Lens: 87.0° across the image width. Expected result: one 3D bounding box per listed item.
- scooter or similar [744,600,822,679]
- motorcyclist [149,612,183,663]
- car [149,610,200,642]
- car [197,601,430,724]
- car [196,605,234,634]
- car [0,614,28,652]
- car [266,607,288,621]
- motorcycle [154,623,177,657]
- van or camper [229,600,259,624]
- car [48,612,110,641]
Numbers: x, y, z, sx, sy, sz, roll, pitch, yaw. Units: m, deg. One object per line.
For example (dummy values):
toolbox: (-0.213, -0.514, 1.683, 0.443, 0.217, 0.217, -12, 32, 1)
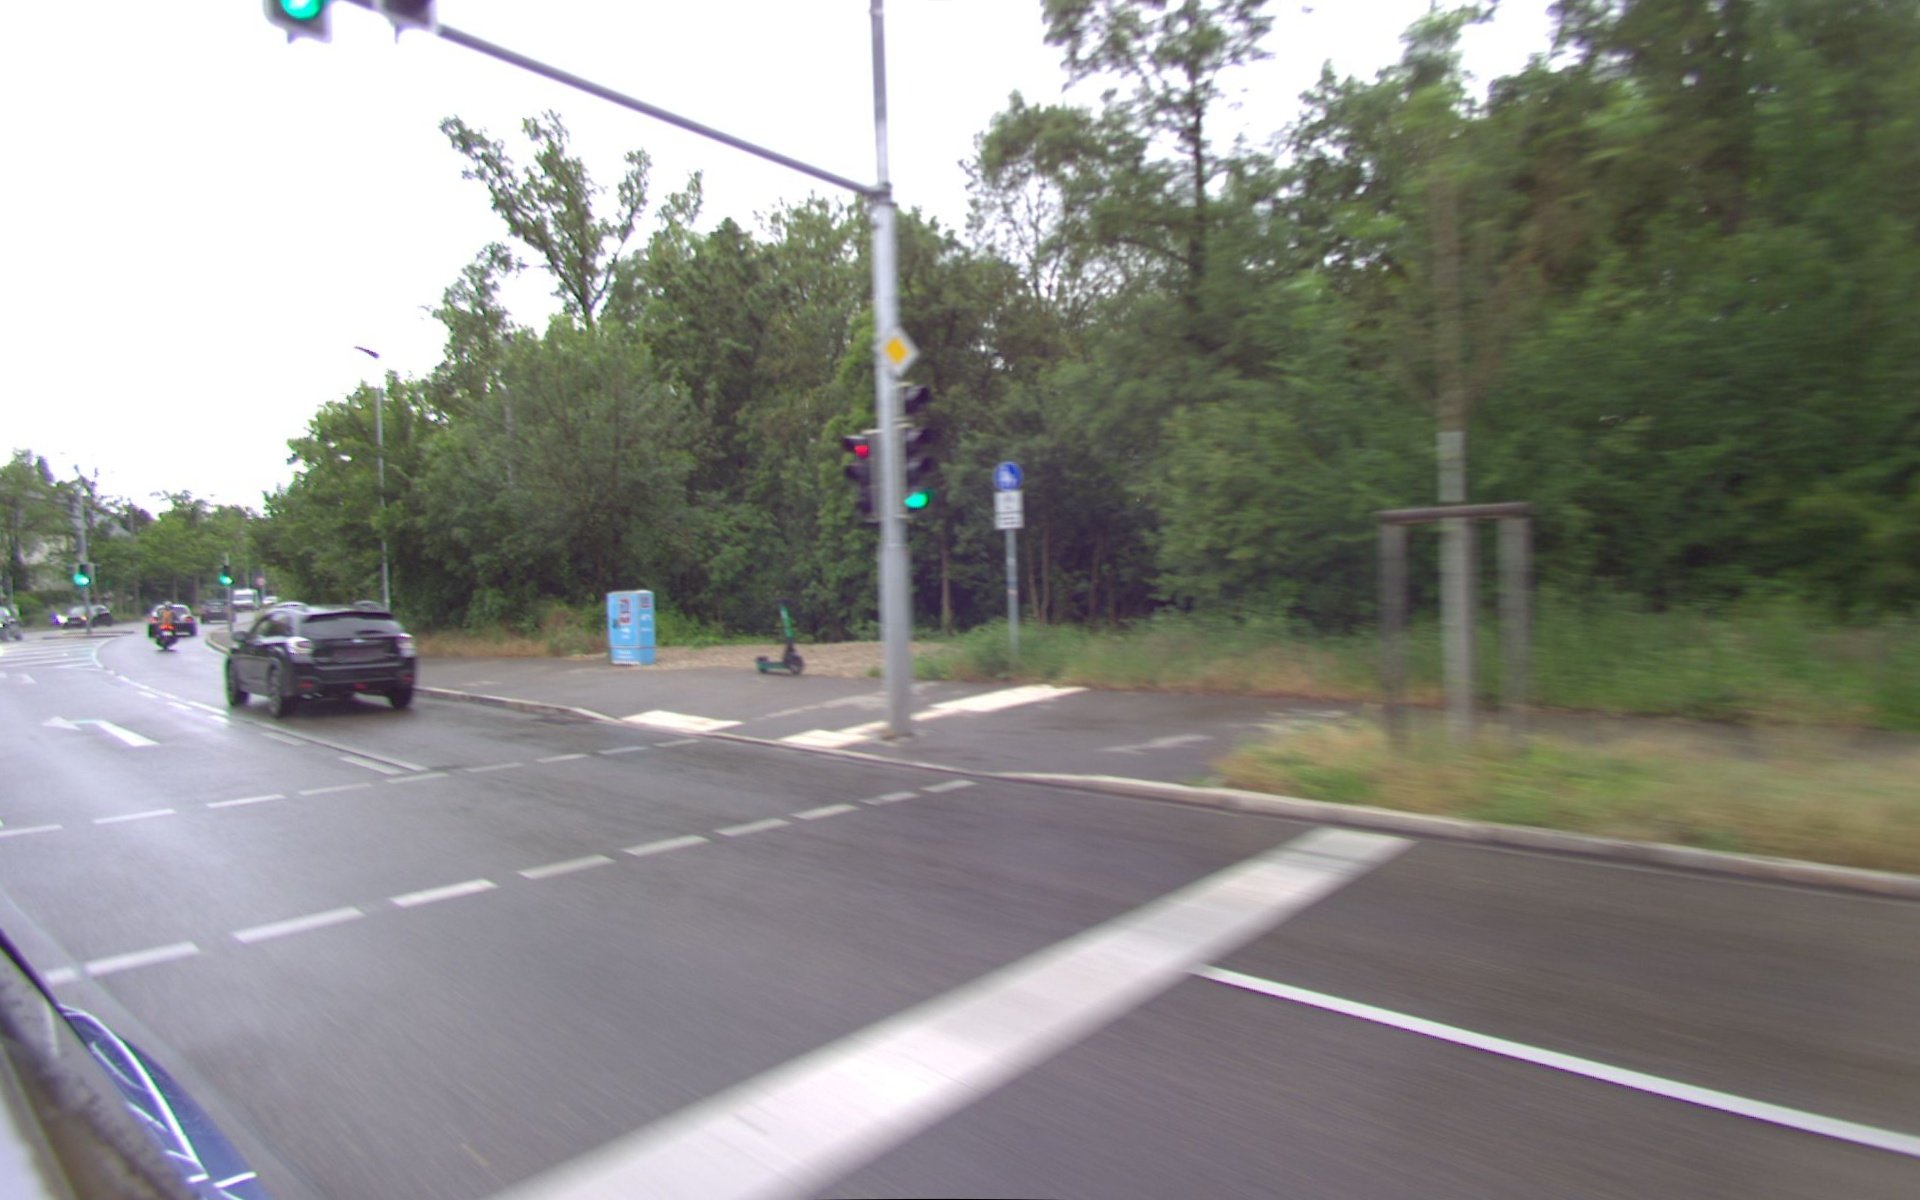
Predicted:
scooter or similar: (-2.922, 0.631, 16.615, 0.511, 1.221, 1.470, -3, 1, -43)
motorcyclist: (-26.648, 1.252, 33.967, 0.927, 1.644, 0.737, -1, 0, 43)
car: (-35.425, 1.137, 45.602, 1.719, 1.362, 4.217, -1, 0, -39)
car: (-9.999, 0.855, 15.498, 4.559, 1.593, 1.771, -1, 0, 41)
car: (-47.419, 1.204, 64.464, 1.554, 1.744, 3.785, -1, 0, -31)
car: (-39.782, 1.341, 41.209, 1.914, 1.466, 4.616, -1, 1, -33)
car: (-89.235, 1.806, 132.330, 1.913, 1.615, 4.619, -1, 1, -28)
motorcycle: (-26.634, 1.324, 33.910, 0.586, 1.058, 2.002, -1, 0, -39)
van or camper: (-80.799, 1.322, 114.272, 1.966, 2.471, 4.737, -3, 2, -26)
car: (-54.256, 1.612, 62.415, 1.913, 1.615, 4.619, -1, 1, -28)
